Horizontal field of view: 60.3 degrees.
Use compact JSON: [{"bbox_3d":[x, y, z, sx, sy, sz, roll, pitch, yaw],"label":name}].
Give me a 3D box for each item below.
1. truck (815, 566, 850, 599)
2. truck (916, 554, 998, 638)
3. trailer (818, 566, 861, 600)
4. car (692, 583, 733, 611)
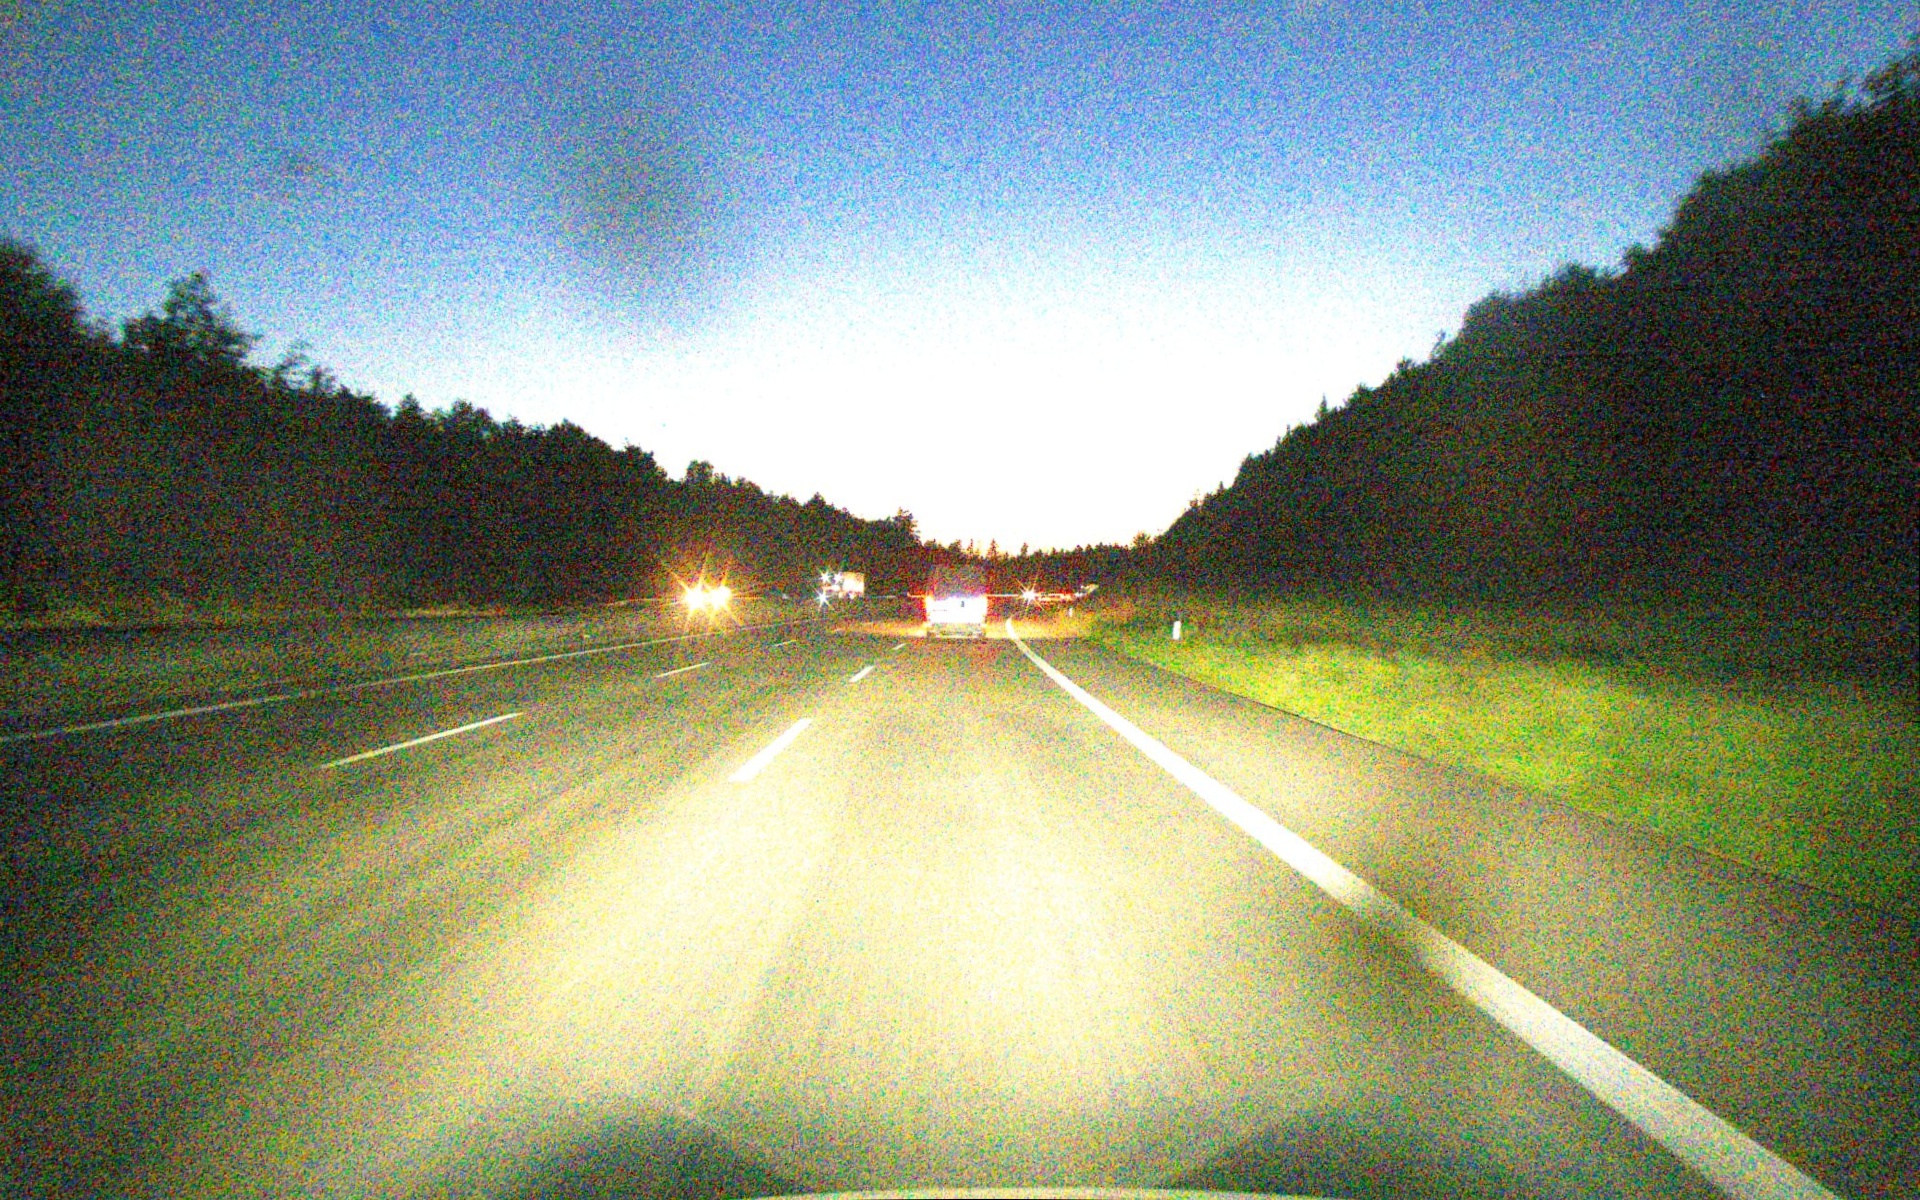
[{"bbox_3d":[-15.669,-2.133,204.155,3.429,4.039,6.702,1,0,3],"label":"truck"},{"bbox_3d":[-0.208,-0.123,57.559,2.577,2.670,8.681,1,0,-2],"label":"truck"},{"bbox_3d":[-15.348,-2.079,211.602,3.469,4.070,17.288,1,0,3],"label":"trailer"},{"bbox_3d":[-17.312,-0.199,115.904,1.952,1.853,5.688,1,0,1],"label":"car"}]
